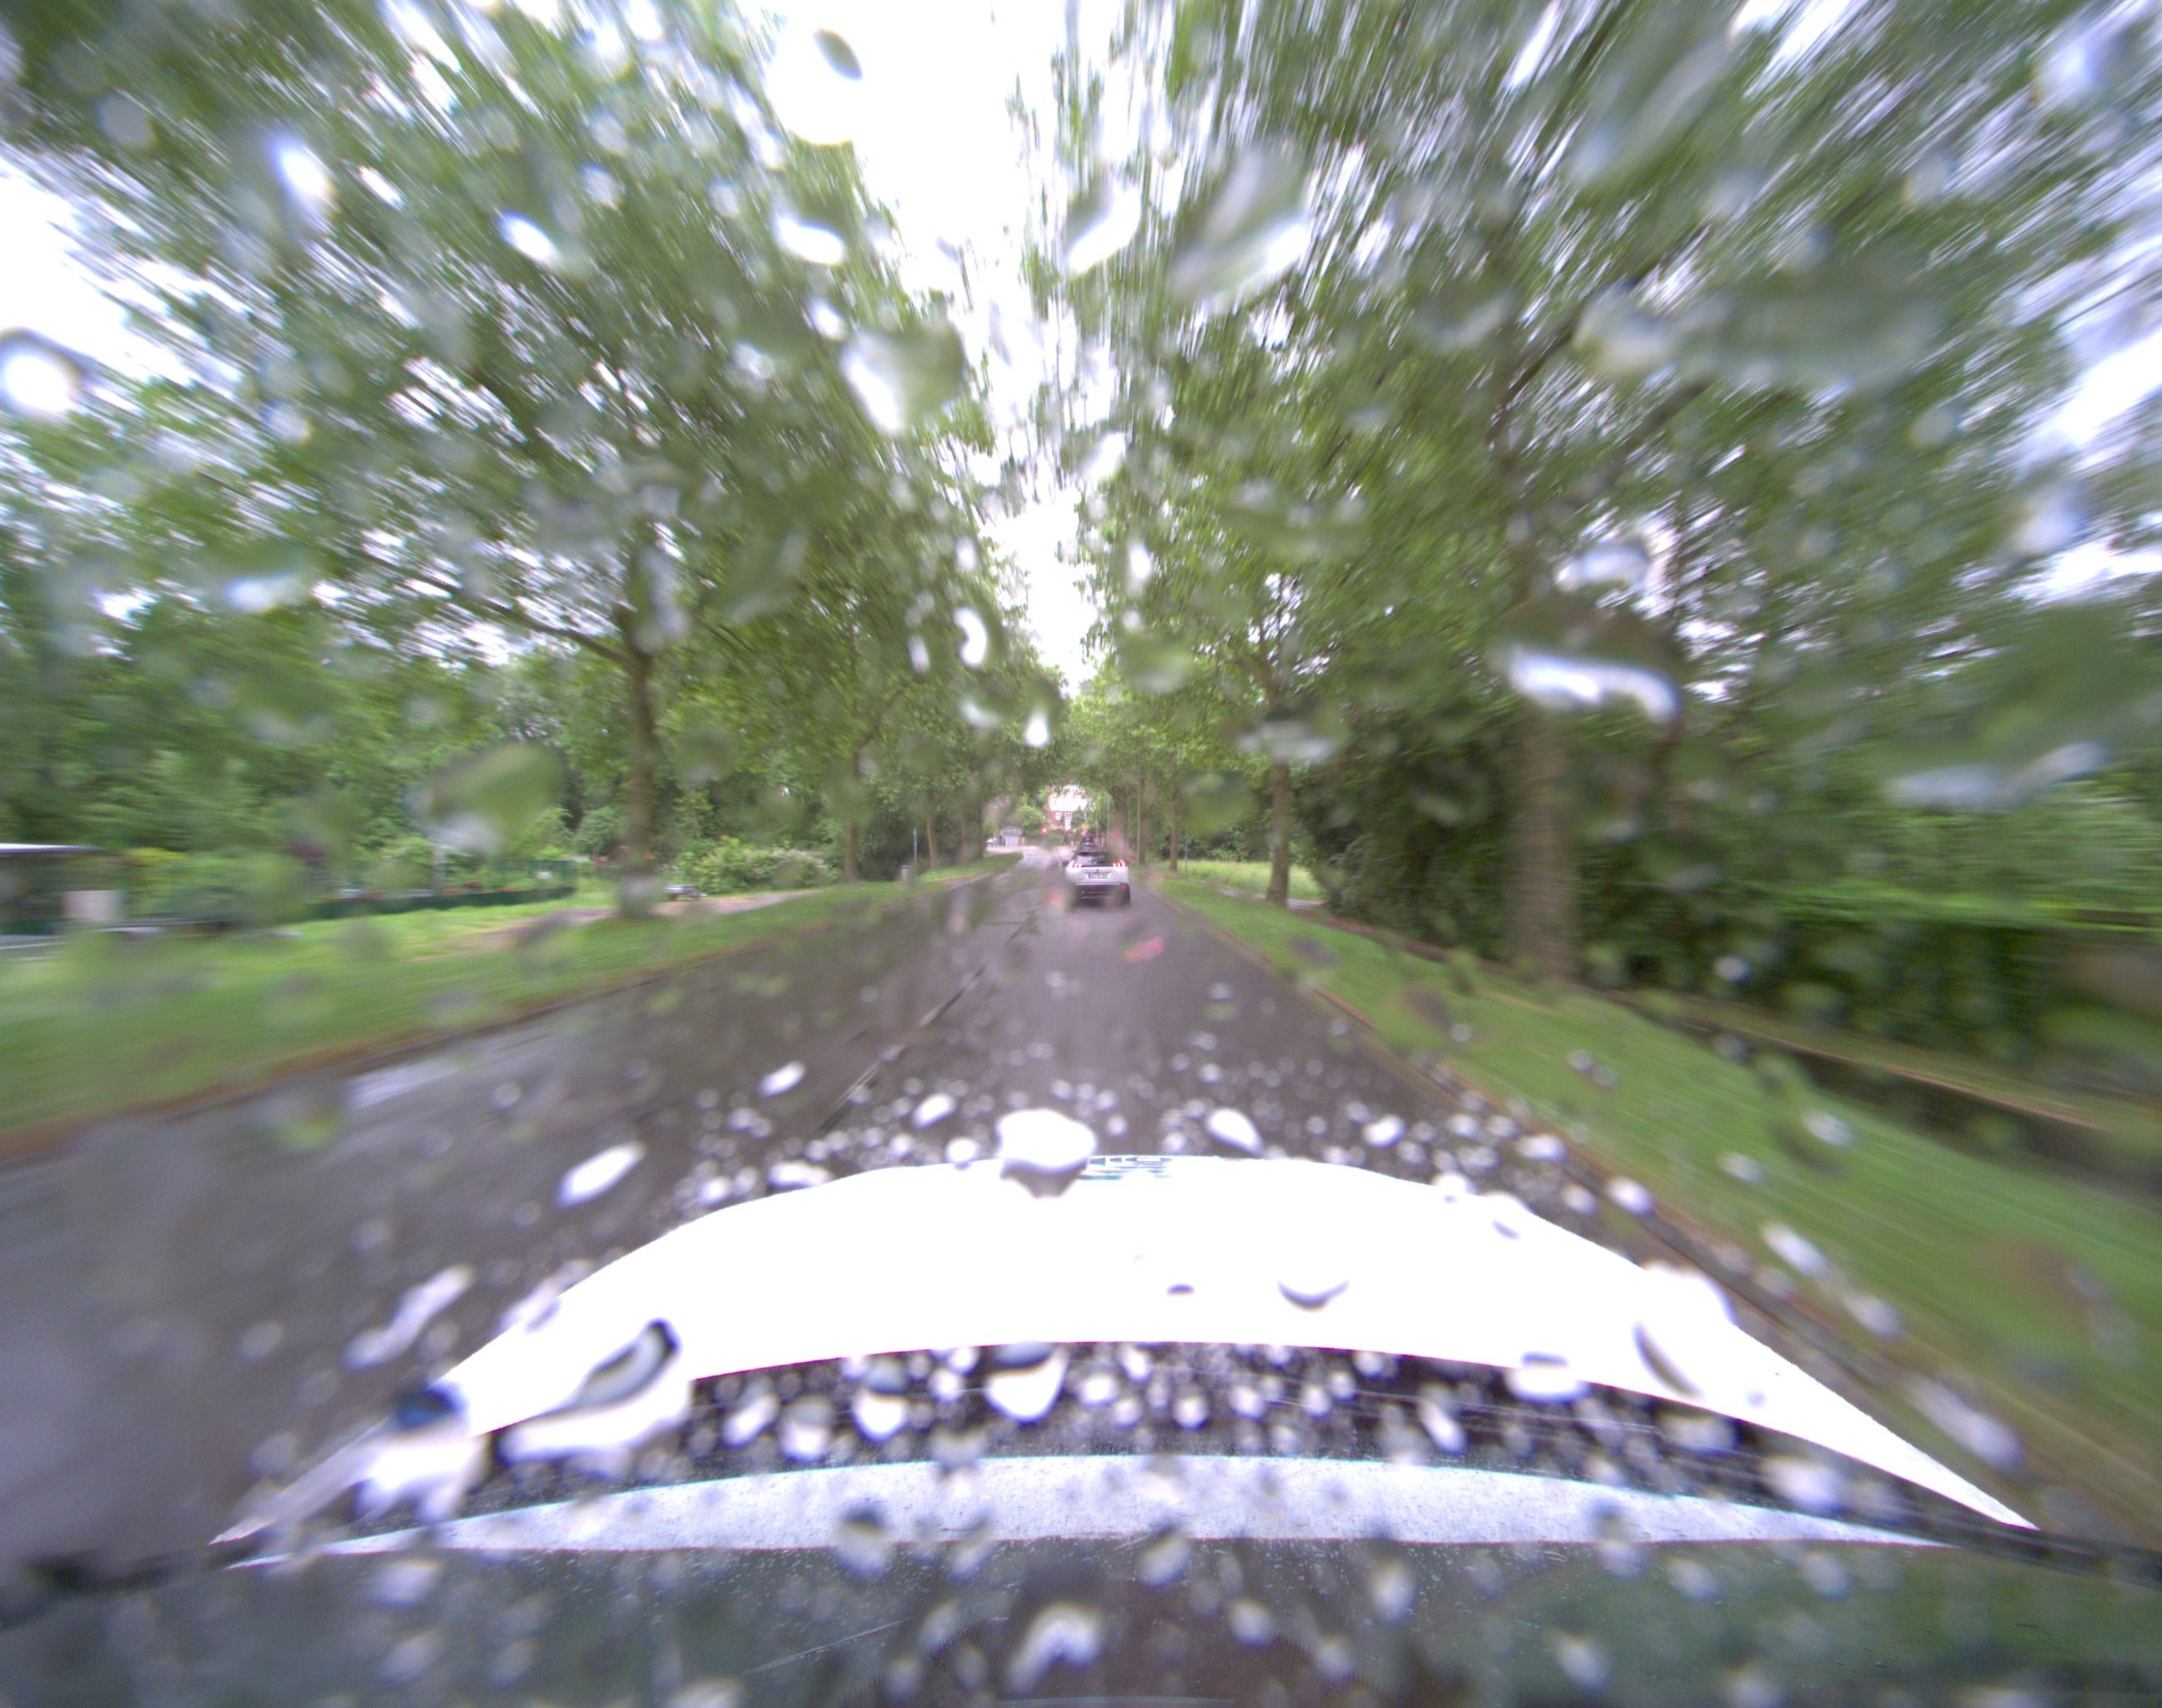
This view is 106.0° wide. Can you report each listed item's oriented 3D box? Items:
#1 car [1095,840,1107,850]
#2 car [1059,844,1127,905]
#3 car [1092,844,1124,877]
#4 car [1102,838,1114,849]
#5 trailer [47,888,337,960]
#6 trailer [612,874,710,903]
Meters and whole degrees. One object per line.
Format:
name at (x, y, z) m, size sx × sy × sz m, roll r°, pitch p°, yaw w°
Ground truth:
car at (3.443, -1.538, 137.144) m, size 1.819 × 1.596 × 3.658 m, roll 0°, pitch 0°, yaw 4°
car at (0.332, 0.506, 23.212) m, size 1.788 × 1.578 × 3.844 m, roll 0°, pitch 1°, yaw 0°
car at (1.355, 0.321, 41.261) m, size 1.564 × 1.592 × 3.219 m, roll 0°, pitch 0°, yaw 2°
car at (4.237, -1.603, 127.366) m, size 1.819 × 1.596 × 3.658 m, roll 0°, pitch 0°, yaw 4°
trailer at (-20.356, 1.571, 18.849) m, size 4.227 × 1.376 × 1.997 m, roll -1°, pitch 1°, yaw -5°
trailer at (-19.214, 1.554, 37.396) m, size 3.548 × 1.178 × 1.819 m, roll -1°, pitch 1°, yaw -6°
